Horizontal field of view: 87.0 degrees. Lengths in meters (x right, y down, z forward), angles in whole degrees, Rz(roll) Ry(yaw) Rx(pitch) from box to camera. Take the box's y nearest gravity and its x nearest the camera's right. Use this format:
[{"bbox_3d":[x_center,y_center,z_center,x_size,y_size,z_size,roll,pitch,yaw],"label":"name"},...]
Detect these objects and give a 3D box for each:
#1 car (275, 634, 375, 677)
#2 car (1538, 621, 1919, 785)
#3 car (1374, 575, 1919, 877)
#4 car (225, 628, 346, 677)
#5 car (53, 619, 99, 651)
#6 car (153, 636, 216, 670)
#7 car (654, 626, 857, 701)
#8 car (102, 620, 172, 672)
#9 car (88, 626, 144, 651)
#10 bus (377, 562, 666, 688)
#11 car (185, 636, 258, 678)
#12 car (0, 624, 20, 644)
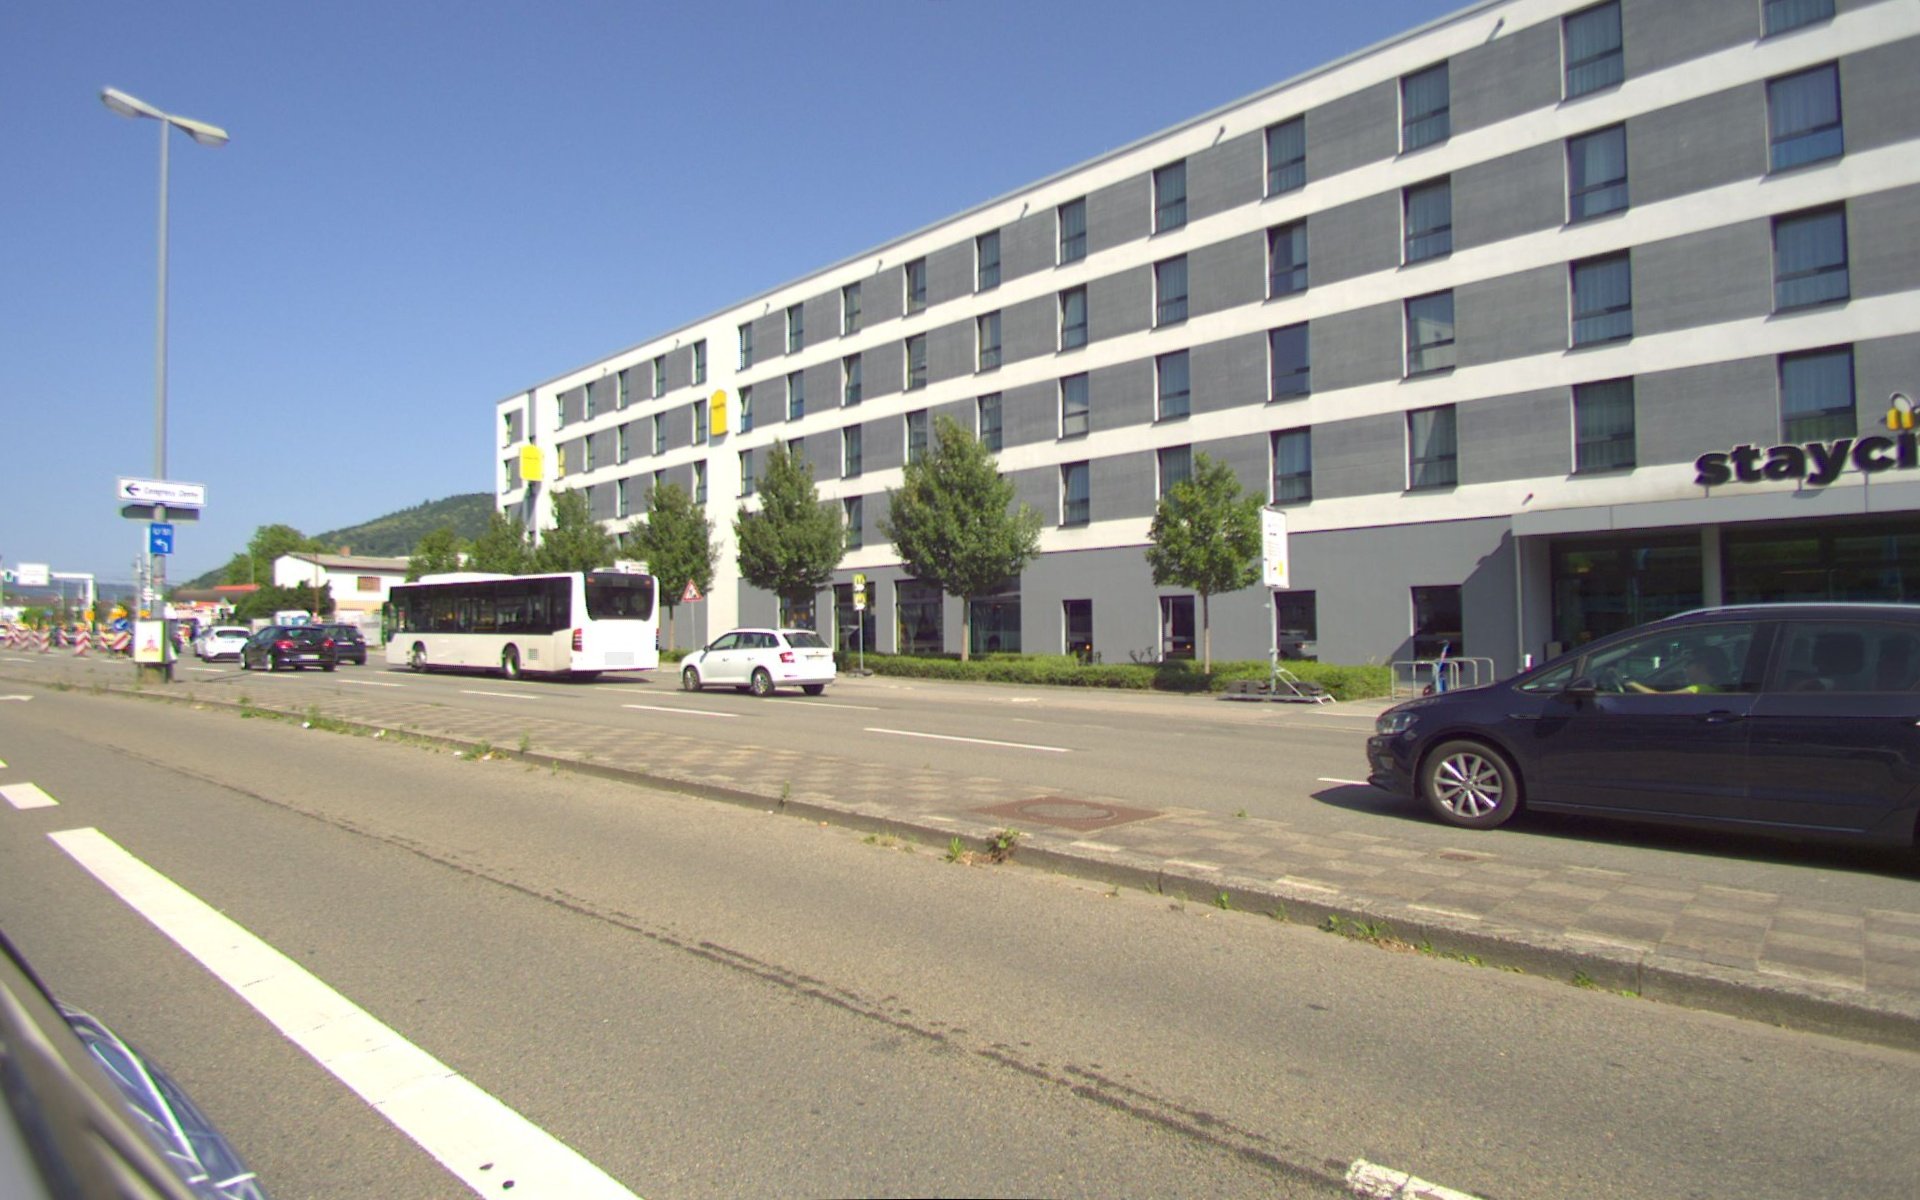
[{"bbox_3d":[-24.736,2.090,39.347,4.888,1.534,1.973,-1,-2,41],"label":"car"},{"bbox_3d":[9.188,1.057,11.336,4.411,1.590,1.972,-1,-3,42],"label":"car"},{"bbox_3d":[5.163,0.734,6.699,4.131,1.630,1.866,-1,-4,40],"label":"car"},{"bbox_3d":[-21.723,1.638,32.518,4.887,1.443,1.973,-1,-2,40],"label":"car"},{"bbox_3d":[-60.727,2.376,69.525,4.000,2.029,1.972,0,0,43],"label":"car"},{"bbox_3d":[-39.235,2.652,51.163,3.587,1.631,1.697,-1,-1,38],"label":"car"},{"bbox_3d":[-4.650,1.392,22.771,4.403,1.497,1.976,0,-4,36],"label":"car"},{"bbox_3d":[-35.565,1.937,43.702,4.162,2.029,1.658,0,0,41],"label":"car"},{"bbox_3d":[-53.934,2.422,64.628,4.888,1.534,1.973,-1,-2,41],"label":"car"},{"bbox_3d":[-13.317,0.770,29.816,11.966,3.102,2.710,-1,-4,40],"label":"bus"},{"bbox_3d":[-29.959,2.269,41.018,4.002,1.462,1.739,0,0,45],"label":"car"},{"bbox_3d":[-83.552,2.956,88.165,4.888,1.725,1.973,-2,-3,41],"label":"car"}]
